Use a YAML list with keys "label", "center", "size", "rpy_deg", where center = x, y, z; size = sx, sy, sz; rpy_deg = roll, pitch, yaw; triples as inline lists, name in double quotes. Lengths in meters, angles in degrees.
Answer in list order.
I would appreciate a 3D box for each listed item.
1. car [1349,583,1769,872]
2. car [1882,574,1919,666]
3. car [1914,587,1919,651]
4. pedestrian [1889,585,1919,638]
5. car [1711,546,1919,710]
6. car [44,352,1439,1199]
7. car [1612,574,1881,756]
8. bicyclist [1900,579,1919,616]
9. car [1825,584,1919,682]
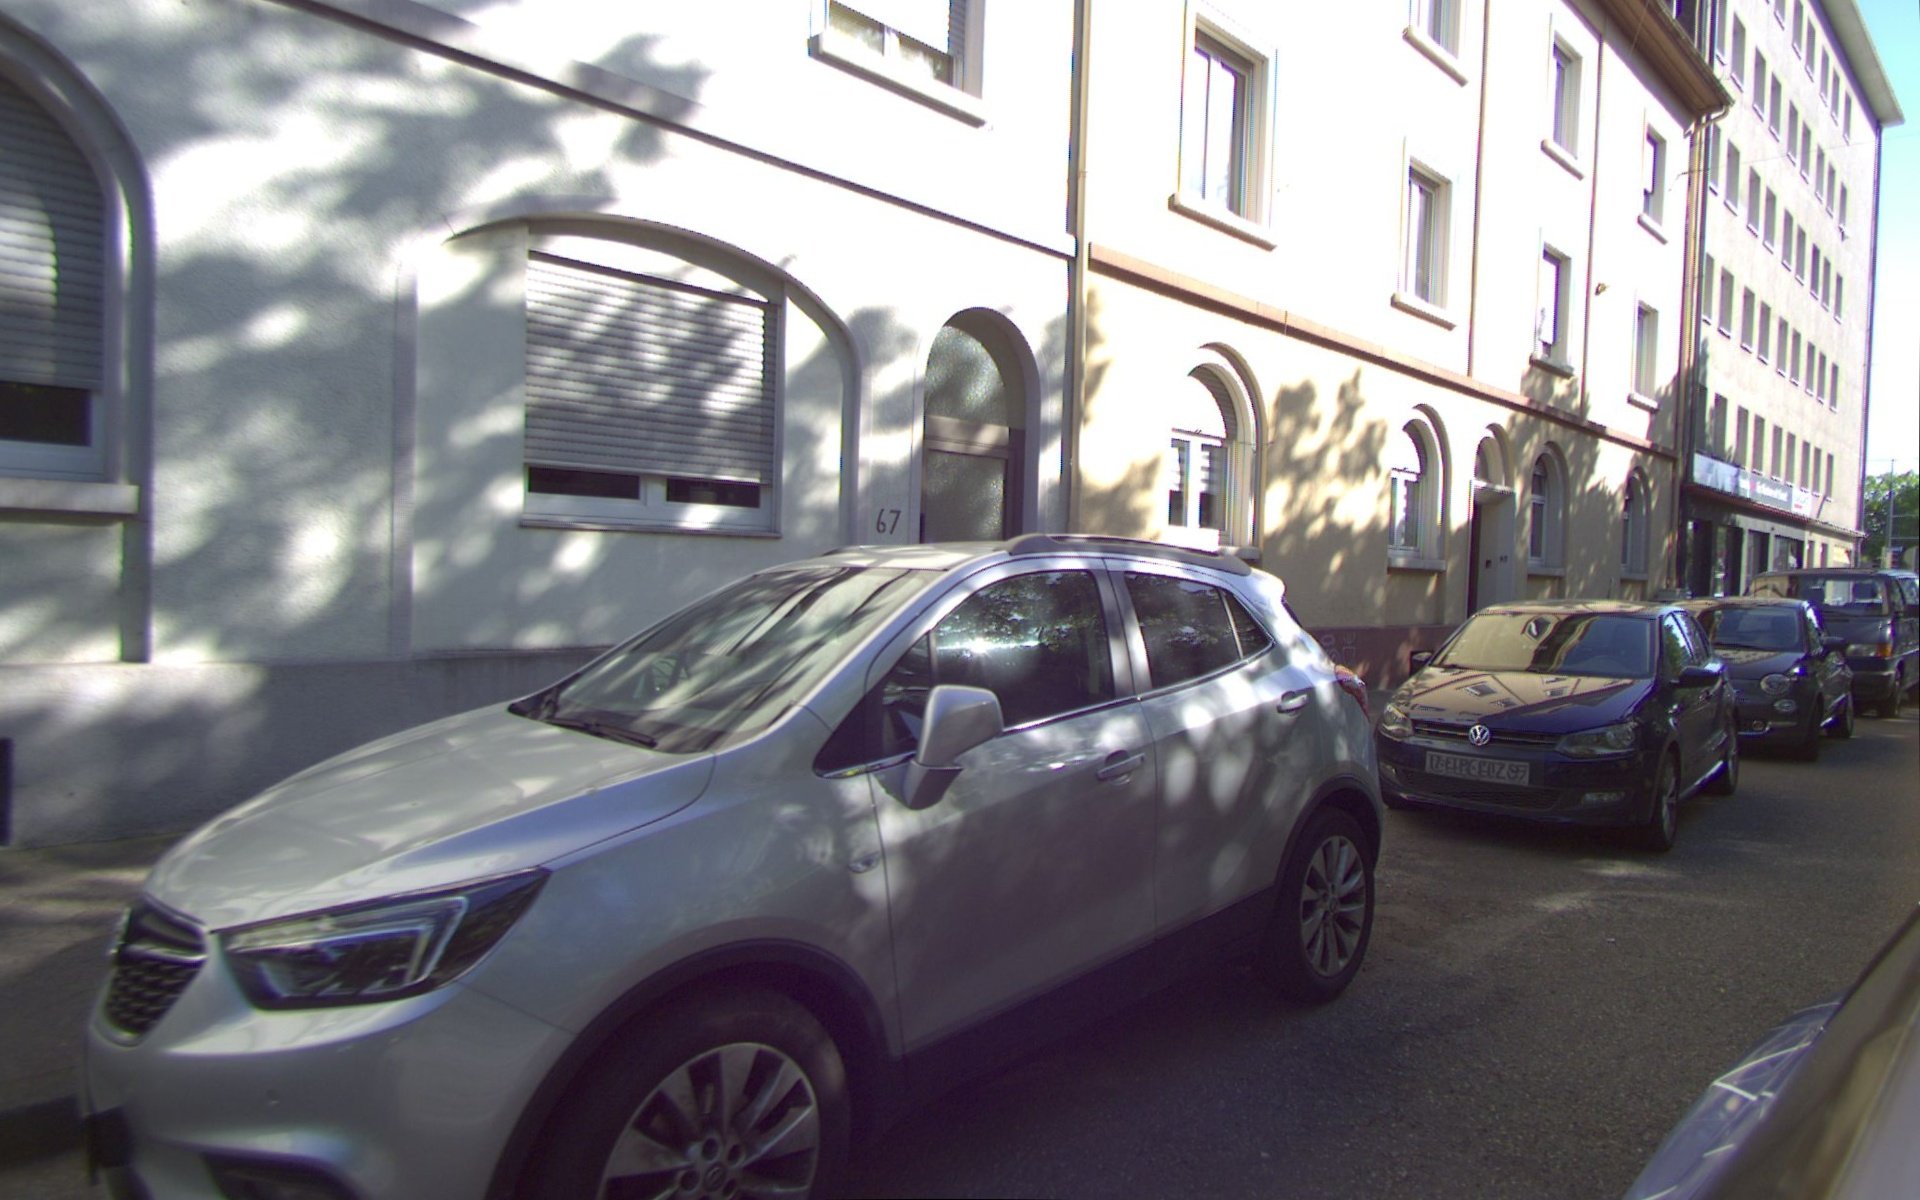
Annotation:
- label: "car"
  center: [4.280, 0.623, 6.965]
  size: [3.798, 1.411, 1.550]
  rpy_deg: [0, 2, -45]
- label: "car"
  center: [20.549, 0.406, 20.928]
  size: [4.433, 1.775, 1.764]
  rpy_deg: [0, 2, -43]
- label: "car"
  center: [24.414, 0.466, 24.505]
  size: [1.803, 1.481, 4.369]
  rpy_deg: [3, 2, 45]
- label: "pedestrian"
  center: [32.079, 0.371, 34.235]
  size: [0.731, 1.743, 0.762]
  rpy_deg: [1, 1, -35]
- label: "car"
  center: [12.339, 0.289, 14.119]
  size: [4.760, 1.924, 1.953]
  rpy_deg: [0, 2, -41]
- label: "car"
  center: [-0.183, 0.519, 3.259]
  size: [4.088, 1.707, 1.724]
  rpy_deg: [0, 2, -43]
- label: "car"
  center: [8.173, 0.533, 10.413]
  size: [3.534, 1.517, 1.624]
  rpy_deg: [0, 2, -43]
- label: "bicyclist"
  center: [41.919, -0.107, 44.389]
  size: [0.820, 1.583, 0.590]
  rpy_deg: [2, 2, 28]
- label: "car"
  center: [16.489, 0.516, 17.474]
  size: [4.164, 1.519, 1.765]
  rpy_deg: [0, 2, -41]
